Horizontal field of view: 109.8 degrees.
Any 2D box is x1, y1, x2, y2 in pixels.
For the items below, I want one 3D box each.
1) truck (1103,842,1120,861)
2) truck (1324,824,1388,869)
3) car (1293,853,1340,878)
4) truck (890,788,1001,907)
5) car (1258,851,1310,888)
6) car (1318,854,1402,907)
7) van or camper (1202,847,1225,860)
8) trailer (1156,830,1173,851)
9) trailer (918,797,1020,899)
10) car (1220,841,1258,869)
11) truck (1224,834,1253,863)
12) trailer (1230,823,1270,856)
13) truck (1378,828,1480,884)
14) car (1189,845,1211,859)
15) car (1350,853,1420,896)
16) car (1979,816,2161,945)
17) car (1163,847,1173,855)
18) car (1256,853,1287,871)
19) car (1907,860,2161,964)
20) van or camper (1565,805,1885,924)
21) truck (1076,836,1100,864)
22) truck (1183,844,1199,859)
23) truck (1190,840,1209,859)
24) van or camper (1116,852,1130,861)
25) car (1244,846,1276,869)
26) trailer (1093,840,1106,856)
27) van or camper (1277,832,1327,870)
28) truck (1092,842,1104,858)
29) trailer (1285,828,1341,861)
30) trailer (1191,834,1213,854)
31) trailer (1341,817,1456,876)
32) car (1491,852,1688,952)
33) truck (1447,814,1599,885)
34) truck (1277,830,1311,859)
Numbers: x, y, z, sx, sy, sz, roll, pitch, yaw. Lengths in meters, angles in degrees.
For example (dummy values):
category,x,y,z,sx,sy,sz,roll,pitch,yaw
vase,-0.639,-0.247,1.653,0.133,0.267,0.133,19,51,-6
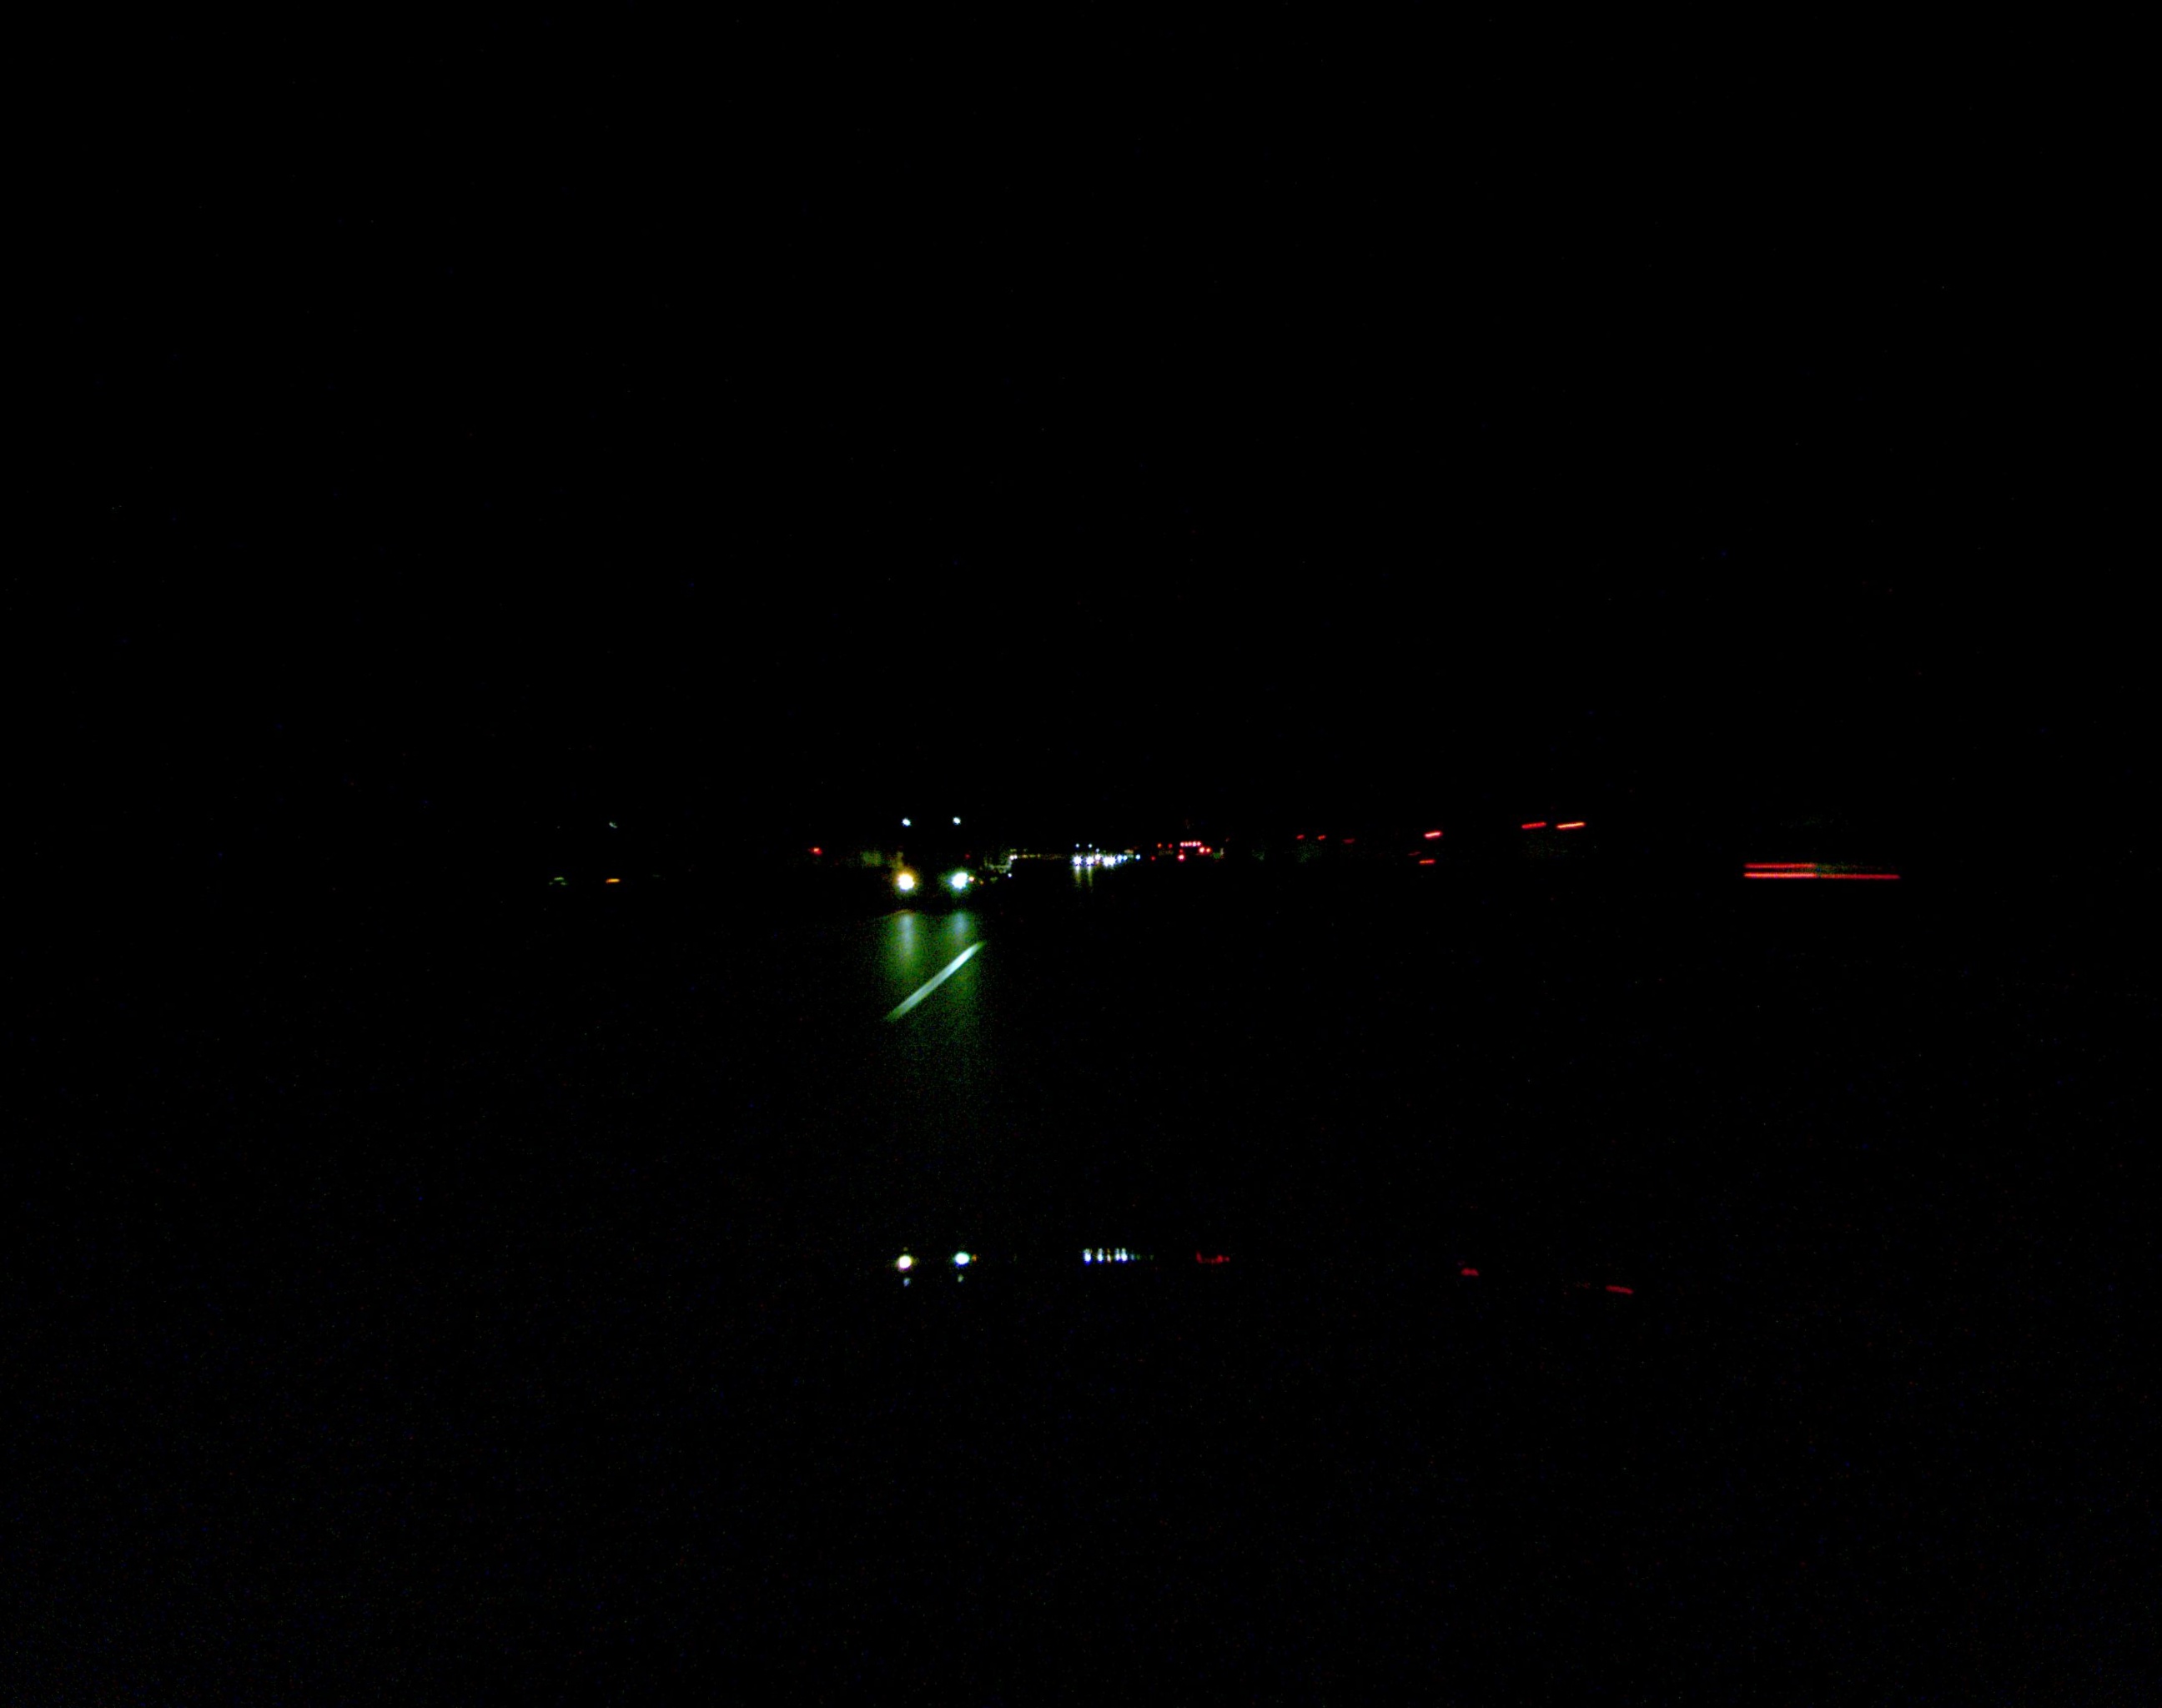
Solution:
category,x,y,z,sx,sy,sz,roll,pitch,yaw
truck,7.066,-0.592,176.511,3.114,4.074,7.078,-2,1,8
truck,23.471,-0.623,65.226,2.890,3.654,7.263,0,1,0
car,15.659,0.721,50.637,1.703,1.477,3.976,-2,1,-2
truck,-5.099,-0.235,30.122,2.869,4.053,7.510,1,0,1
car,12.405,0.905,46.729,1.999,2.002,3.998,-2,1,-1
car,11.845,1.064,32.554,1.999,2.002,3.998,-2,1,-1
van or camper,20.466,-0.122,117.711,2.193,2.002,7.640,0,0,-1
trailer,17.593,-2.858,159.982,3.096,4.065,12.453,-2,1,8
trailer,-5.047,-0.284,37.248,2.861,4.044,13.204,1,0,0
car,12.177,0.042,58.751,1.999,2.002,3.998,-2,1,-1
truck,19.826,-0.717,95.750,2.409,3.493,6.724,-1,0,1
trailer,19.560,-1.679,88.572,2.399,3.606,11.180,-1,1,2
truck,20.112,0.032,44.452,2.562,2.969,7.451,0,1,0
car,11.396,-0.225,73.002,1.574,1.346,4.000,0,0,1
car,16.063,1.025,40.372,1.999,2.002,3.998,-2,1,-1
car,23.895,0.517,16.016,2.320,2.702,6.357,-2,0,-1
car,14.601,-0.512,127.716,1.573,1.346,4.001,0,0,5
car,15.108,0.642,60.459,1.574,1.346,4.000,0,0,1
car,19.835,1.032,15.152,1.999,1.637,4.312,-2,1,-1
van or camper,16.608,0.215,20.543,2.089,2.617,7.603,0,0,-1
truck,0.973,-0.828,125.792,3.491,4.112,18.700,-1,2,-1
truck,22.111,-0.464,152.537,2.563,2.942,8.173,0,0,4
truck,20.685,-0.853,133.228,2.649,3.201,5.795,-2,1,4
van or camper,6.038,0.351,108.843,1.824,1.346,5.351,0,0,1
car,17.235,0.294,73.340,1.999,2.002,3.998,-2,1,-1
trailer,5.799,-1.788,234.698,2.880,3.910,12.884,-5,3,6
van or camper,19.884,-0.283,68.780,2.439,3.253,7.393,0,0,1
truck,5.046,-1.115,225.505,2.873,3.821,8.049,-6,5,5
trailer,24.099,-1.008,79.591,2.400,3.192,11.178,-1,1,0
trailer,20.360,-1.760,127.969,2.612,3.158,9.003,-2,1,3
trailer,23.462,-0.548,57.322,2.890,3.654,13.130,-6,0,0
car,11.982,1.027,18.293,1.999,2.002,3.998,-2,1,-1
truck,20.215,-0.266,35.398,2.769,2.969,7.401,0,1,0
truck,24.079,-1.107,86.033,2.400,3.192,4.906,-1,1,0
